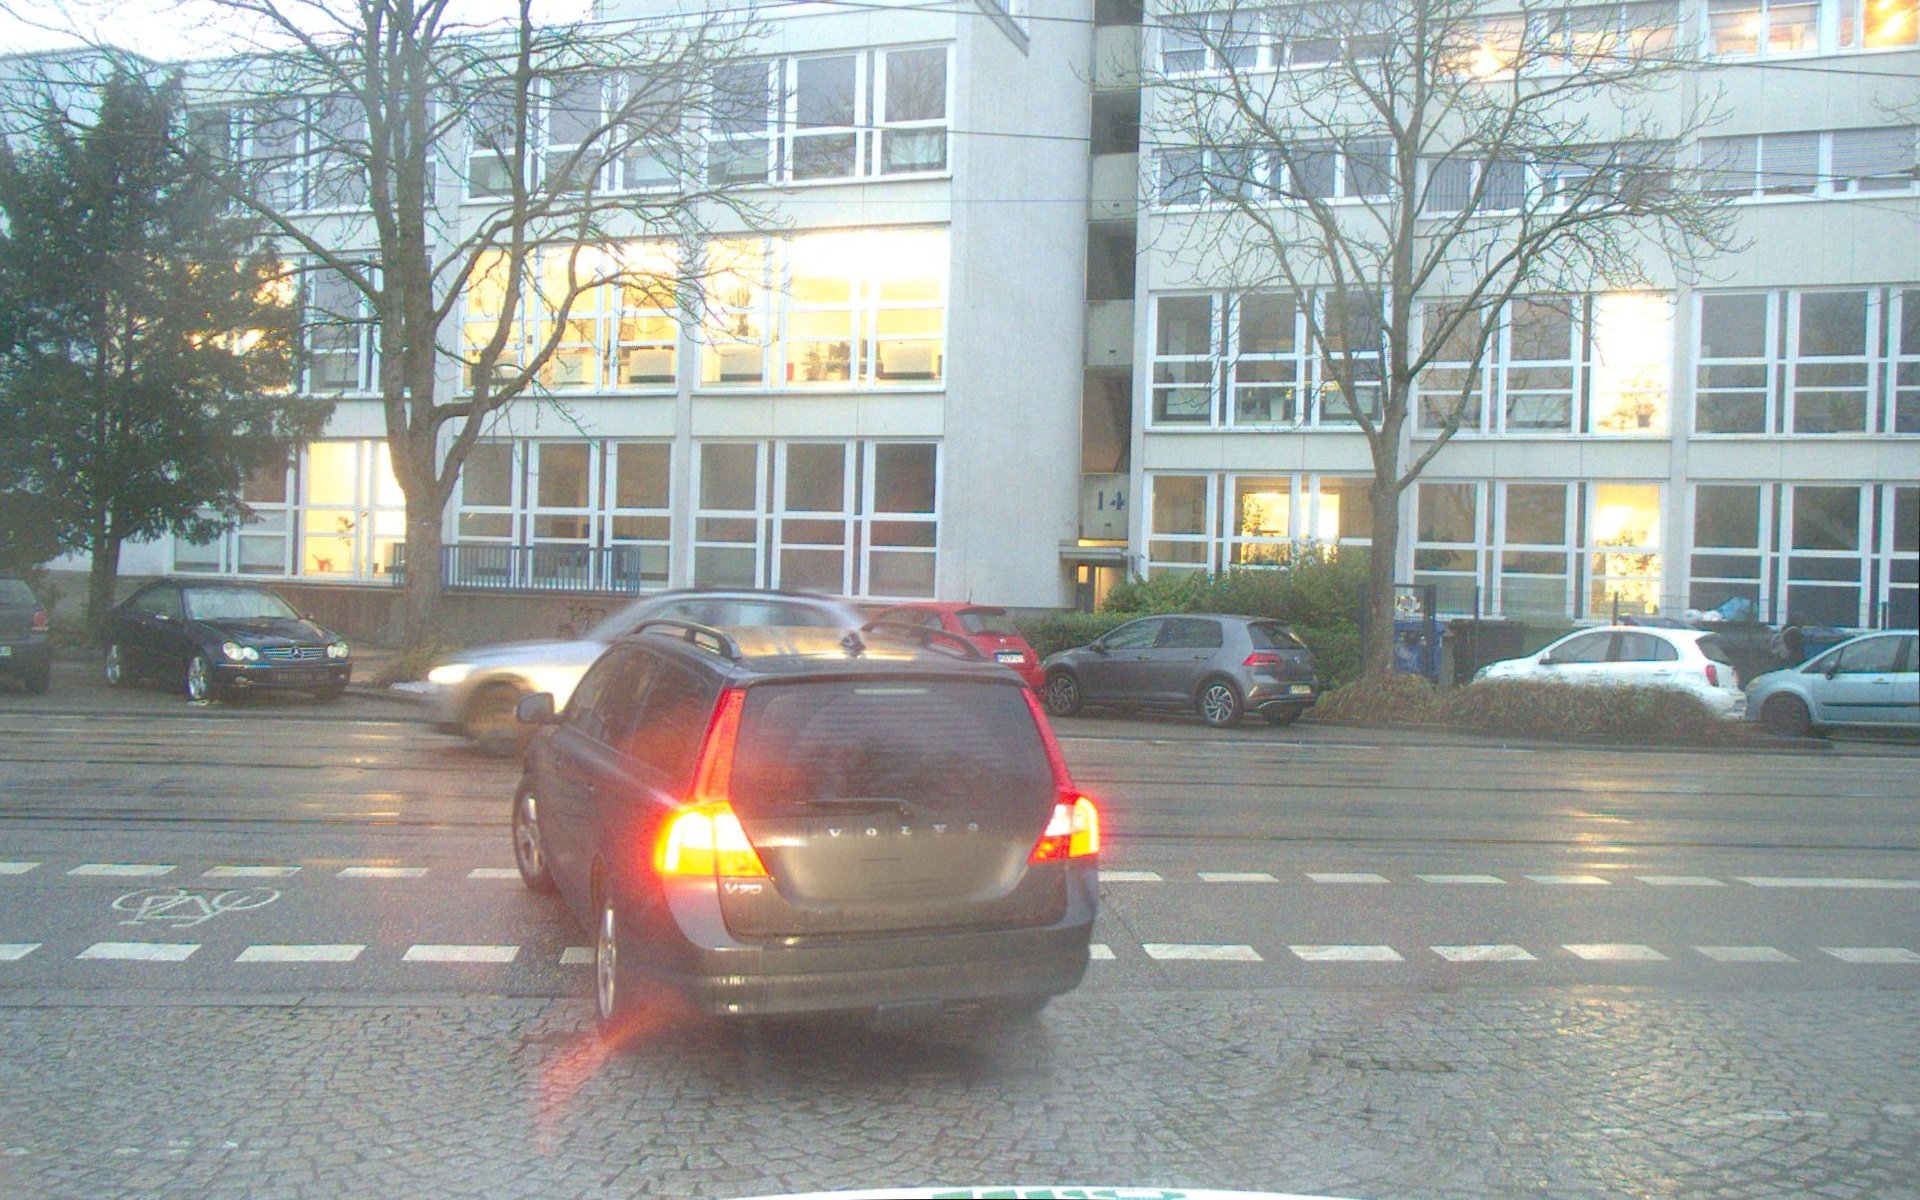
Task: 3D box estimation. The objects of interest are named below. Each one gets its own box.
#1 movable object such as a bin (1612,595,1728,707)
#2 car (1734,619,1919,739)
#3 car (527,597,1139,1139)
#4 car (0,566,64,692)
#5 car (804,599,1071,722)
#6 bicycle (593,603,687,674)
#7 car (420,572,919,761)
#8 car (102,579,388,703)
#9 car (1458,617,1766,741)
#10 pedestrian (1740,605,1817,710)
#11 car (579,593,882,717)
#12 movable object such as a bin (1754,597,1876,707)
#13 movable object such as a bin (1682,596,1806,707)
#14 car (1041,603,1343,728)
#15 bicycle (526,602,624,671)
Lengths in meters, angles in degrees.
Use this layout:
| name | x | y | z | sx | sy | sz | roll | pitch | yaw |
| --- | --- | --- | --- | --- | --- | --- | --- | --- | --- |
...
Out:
| name | x | y | z | sx | sy | sz | roll | pitch | yaw |
| --- | --- | --- | --- | --- | --- | --- | --- | --- | --- |
| movable object such as a bin | 12.387 | 0.864 | 28.913 | 1.288 | 1.892 | 1.573 | 0 | 0 | -5 |
| car | 13.325 | 1.110 | 23.463 | 3.929 | 1.591 | 1.726 | 1 | 0 | 42 |
| car | -0.889 | 0.835 | 7.394 | 1.721 | 1.571 | 4.273 | 1 | 1 | -19 |
| car | -12.913 | 0.322 | 20.648 | 3.929 | 1.488 | 1.845 | 1 | 0 | 42 |
| car | -0.346 | 0.768 | 22.544 | 3.390 | 1.519 | 1.719 | 1 | 0 | 42 |
| bicycle | -5.431 | 0.641 | 28.202 | 0.626 | 1.140 | 2.207 | 1 | 0 | 16 |
| car | -2.600 | 0.597 | 15.332 | 4.282 | 1.606 | 1.710 | 1 | 0 | -7 |
| car | -9.031 | 0.459 | 20.769 | 3.929 | 1.403 | 1.845 | 1 | 0 | 42 |
| car | 9.315 | 1.065 | 23.771 | 3.804 | 1.579 | 1.684 | 1 | 0 | 40 |
| pedestrian | 13.553 | 0.945 | 27.396 | 0.951 | 1.706 | 0.598 | 1 | -1 | -7 |
| car | -3.105 | 0.673 | 22.003 | 3.923 | 1.471 | 1.785 | 1 | 0 | 38 |
| movable object such as a bin | 15.063 | 0.894 | 29.185 | 1.288 | 1.892 | 1.573 | 0 | 0 | -5 |
| movable object such as a bin | 13.746 | 0.888 | 29.062 | 1.362 | 1.892 | 1.573 | 0 | 0 | -5 |
| car | 3.121 | 0.829 | 22.597 | 3.783 | 1.519 | 1.687 | 1 | 0 | 40 |
| bicycle | -6.600 | 0.613 | 28.509 | 0.626 | 1.140 | 2.207 | 1 | 0 | 16 |
